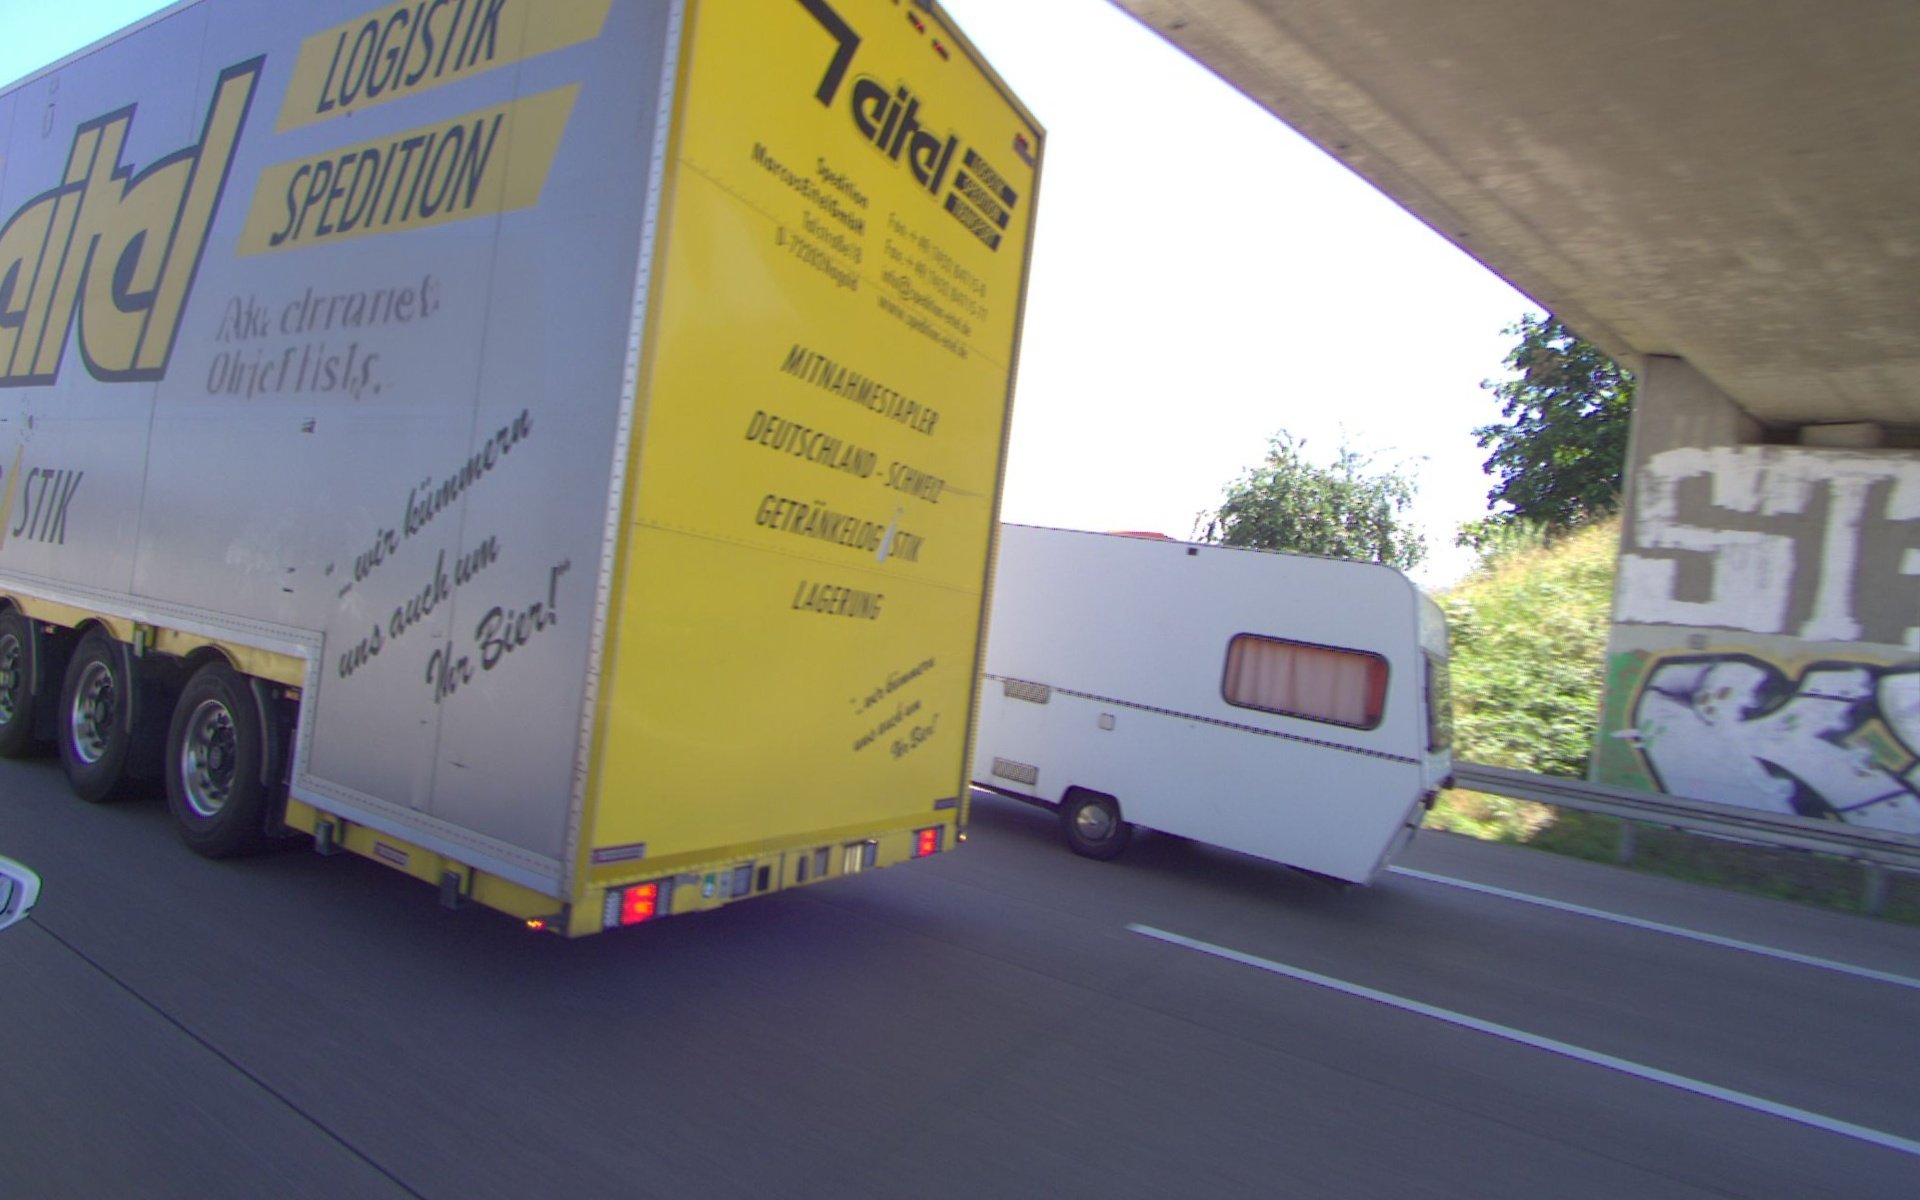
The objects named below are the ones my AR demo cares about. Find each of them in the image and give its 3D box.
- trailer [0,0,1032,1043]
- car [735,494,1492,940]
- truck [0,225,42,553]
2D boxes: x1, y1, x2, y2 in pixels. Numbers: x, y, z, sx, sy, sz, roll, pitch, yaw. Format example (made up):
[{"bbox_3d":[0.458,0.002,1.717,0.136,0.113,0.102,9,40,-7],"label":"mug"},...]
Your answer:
[{"bbox_3d":[-6.792,-1.435,7.699,14.945,4.304,1.997,6,-1,31],"label":"trailer"},{"bbox_3d":[1.052,0.627,8.121,5.424,2.374,2.138,6,-2,31],"label":"car"},{"bbox_3d":[-12.948,-2.149,11.401,5.107,4.304,1.997,6,-1,31],"label":"truck"}]
